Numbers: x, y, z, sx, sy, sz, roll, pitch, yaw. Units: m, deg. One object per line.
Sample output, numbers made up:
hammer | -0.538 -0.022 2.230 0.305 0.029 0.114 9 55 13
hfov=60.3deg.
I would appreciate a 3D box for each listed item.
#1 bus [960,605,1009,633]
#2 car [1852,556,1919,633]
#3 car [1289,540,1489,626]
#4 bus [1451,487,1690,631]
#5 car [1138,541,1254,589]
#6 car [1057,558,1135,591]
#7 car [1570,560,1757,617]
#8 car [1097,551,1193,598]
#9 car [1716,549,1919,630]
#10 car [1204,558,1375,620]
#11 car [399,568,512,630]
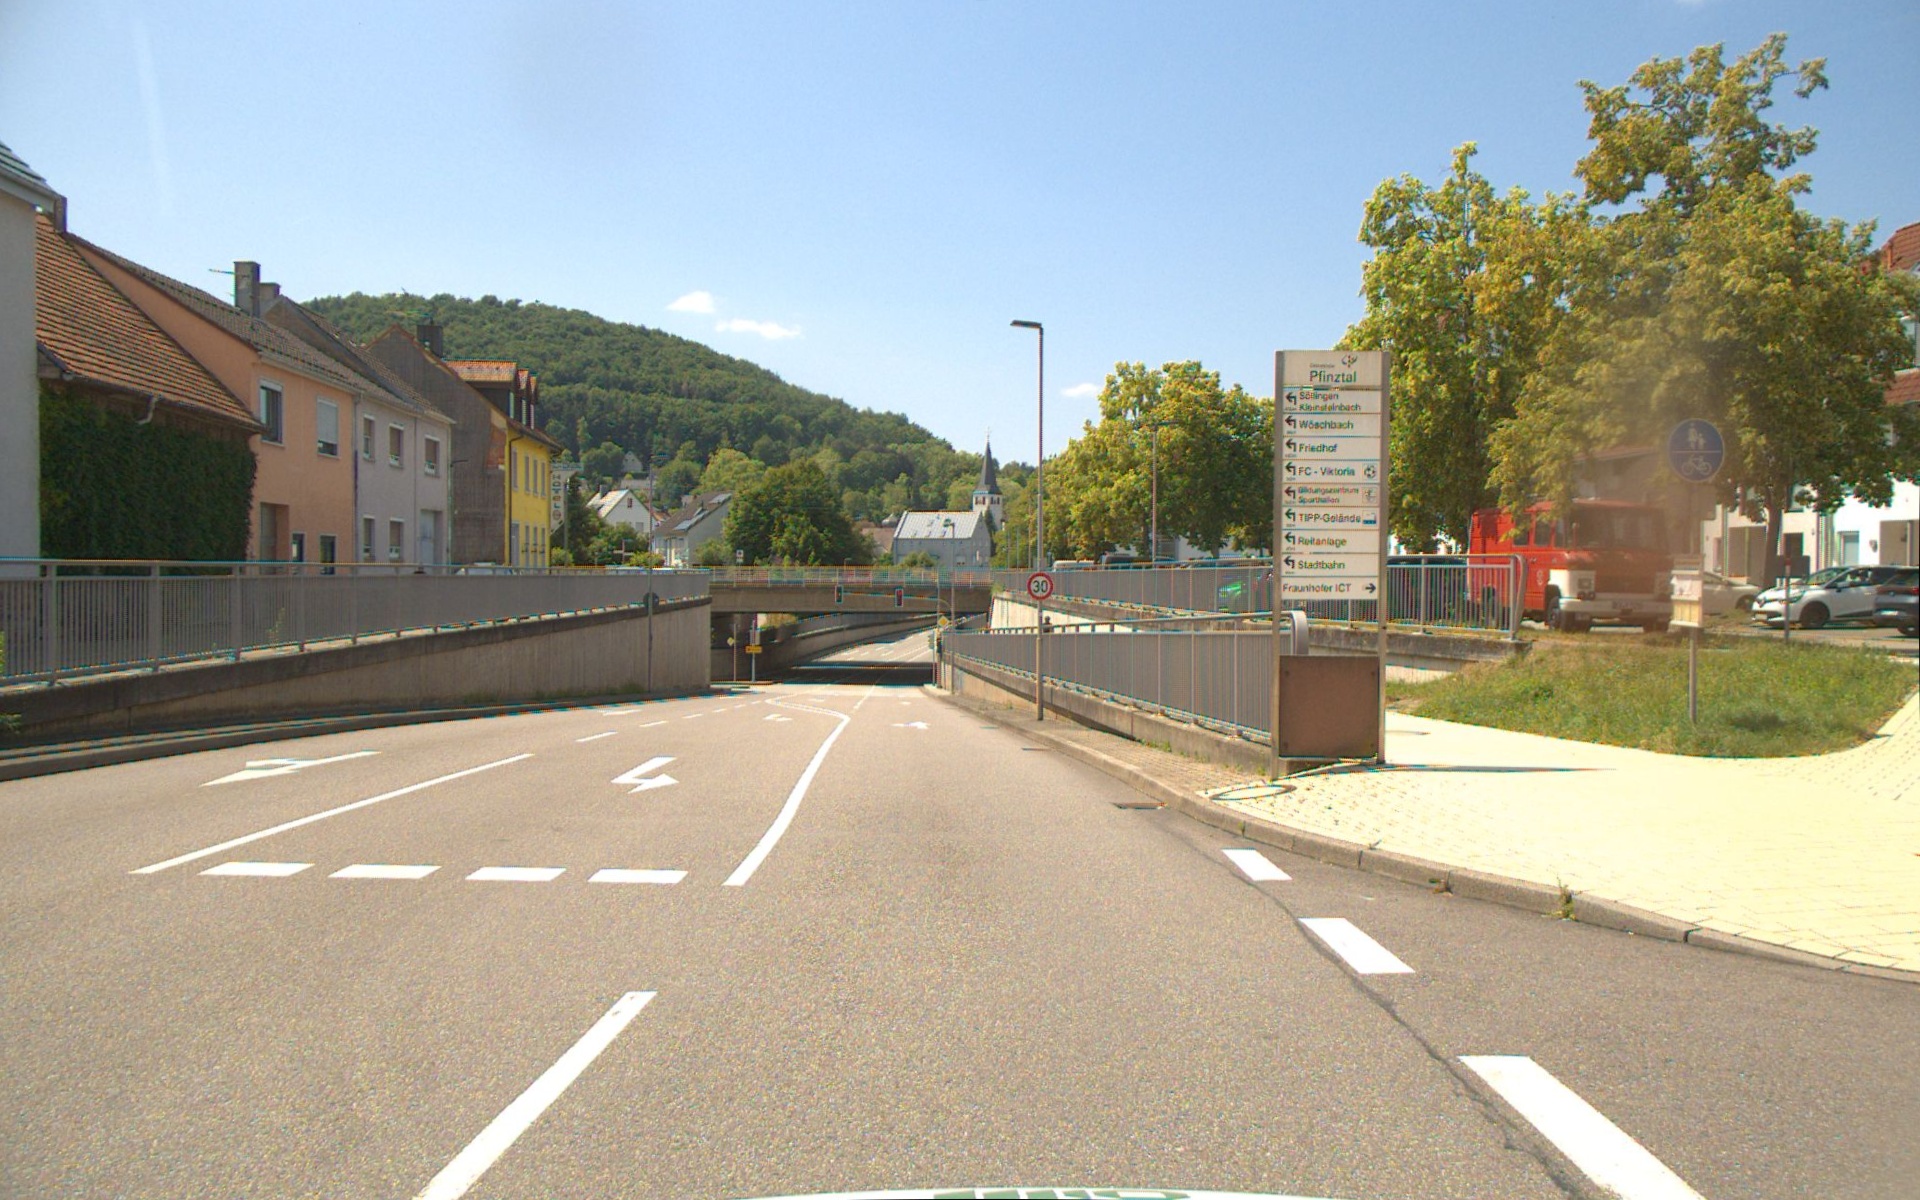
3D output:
bus | 2.980 2.258 197.278 2.526 3.228 12.383 1 0 17
car | 20.763 -0.139 33.465 4.394 1.505 1.999 -1 1 -2
car | 9.569 -0.347 36.977 3.917 1.658 1.857 2 -3 -12
bus | 11.110 -0.764 30.586 2.145 2.407 5.360 -1 1 -4
car | 8.434 -1.239 59.276 3.905 1.512 1.769 1 -3 0
car | 7.080 -1.338 86.379 3.905 1.512 1.769 1 -3 0
car | 19.658 -0.339 46.336 4.394 1.505 1.999 -1 1 -2
car | 7.931 -1.081 71.018 3.905 1.801 1.769 1 -3 0
car | 20.096 -0.225 38.755 3.908 1.658 1.861 2 -3 -4
car | 8.185 -0.271 41.297 3.905 1.453 1.724 1 0 0
car | -12.544 -0.010 41.381 1.750 1.430 4.389 1 0 -5
